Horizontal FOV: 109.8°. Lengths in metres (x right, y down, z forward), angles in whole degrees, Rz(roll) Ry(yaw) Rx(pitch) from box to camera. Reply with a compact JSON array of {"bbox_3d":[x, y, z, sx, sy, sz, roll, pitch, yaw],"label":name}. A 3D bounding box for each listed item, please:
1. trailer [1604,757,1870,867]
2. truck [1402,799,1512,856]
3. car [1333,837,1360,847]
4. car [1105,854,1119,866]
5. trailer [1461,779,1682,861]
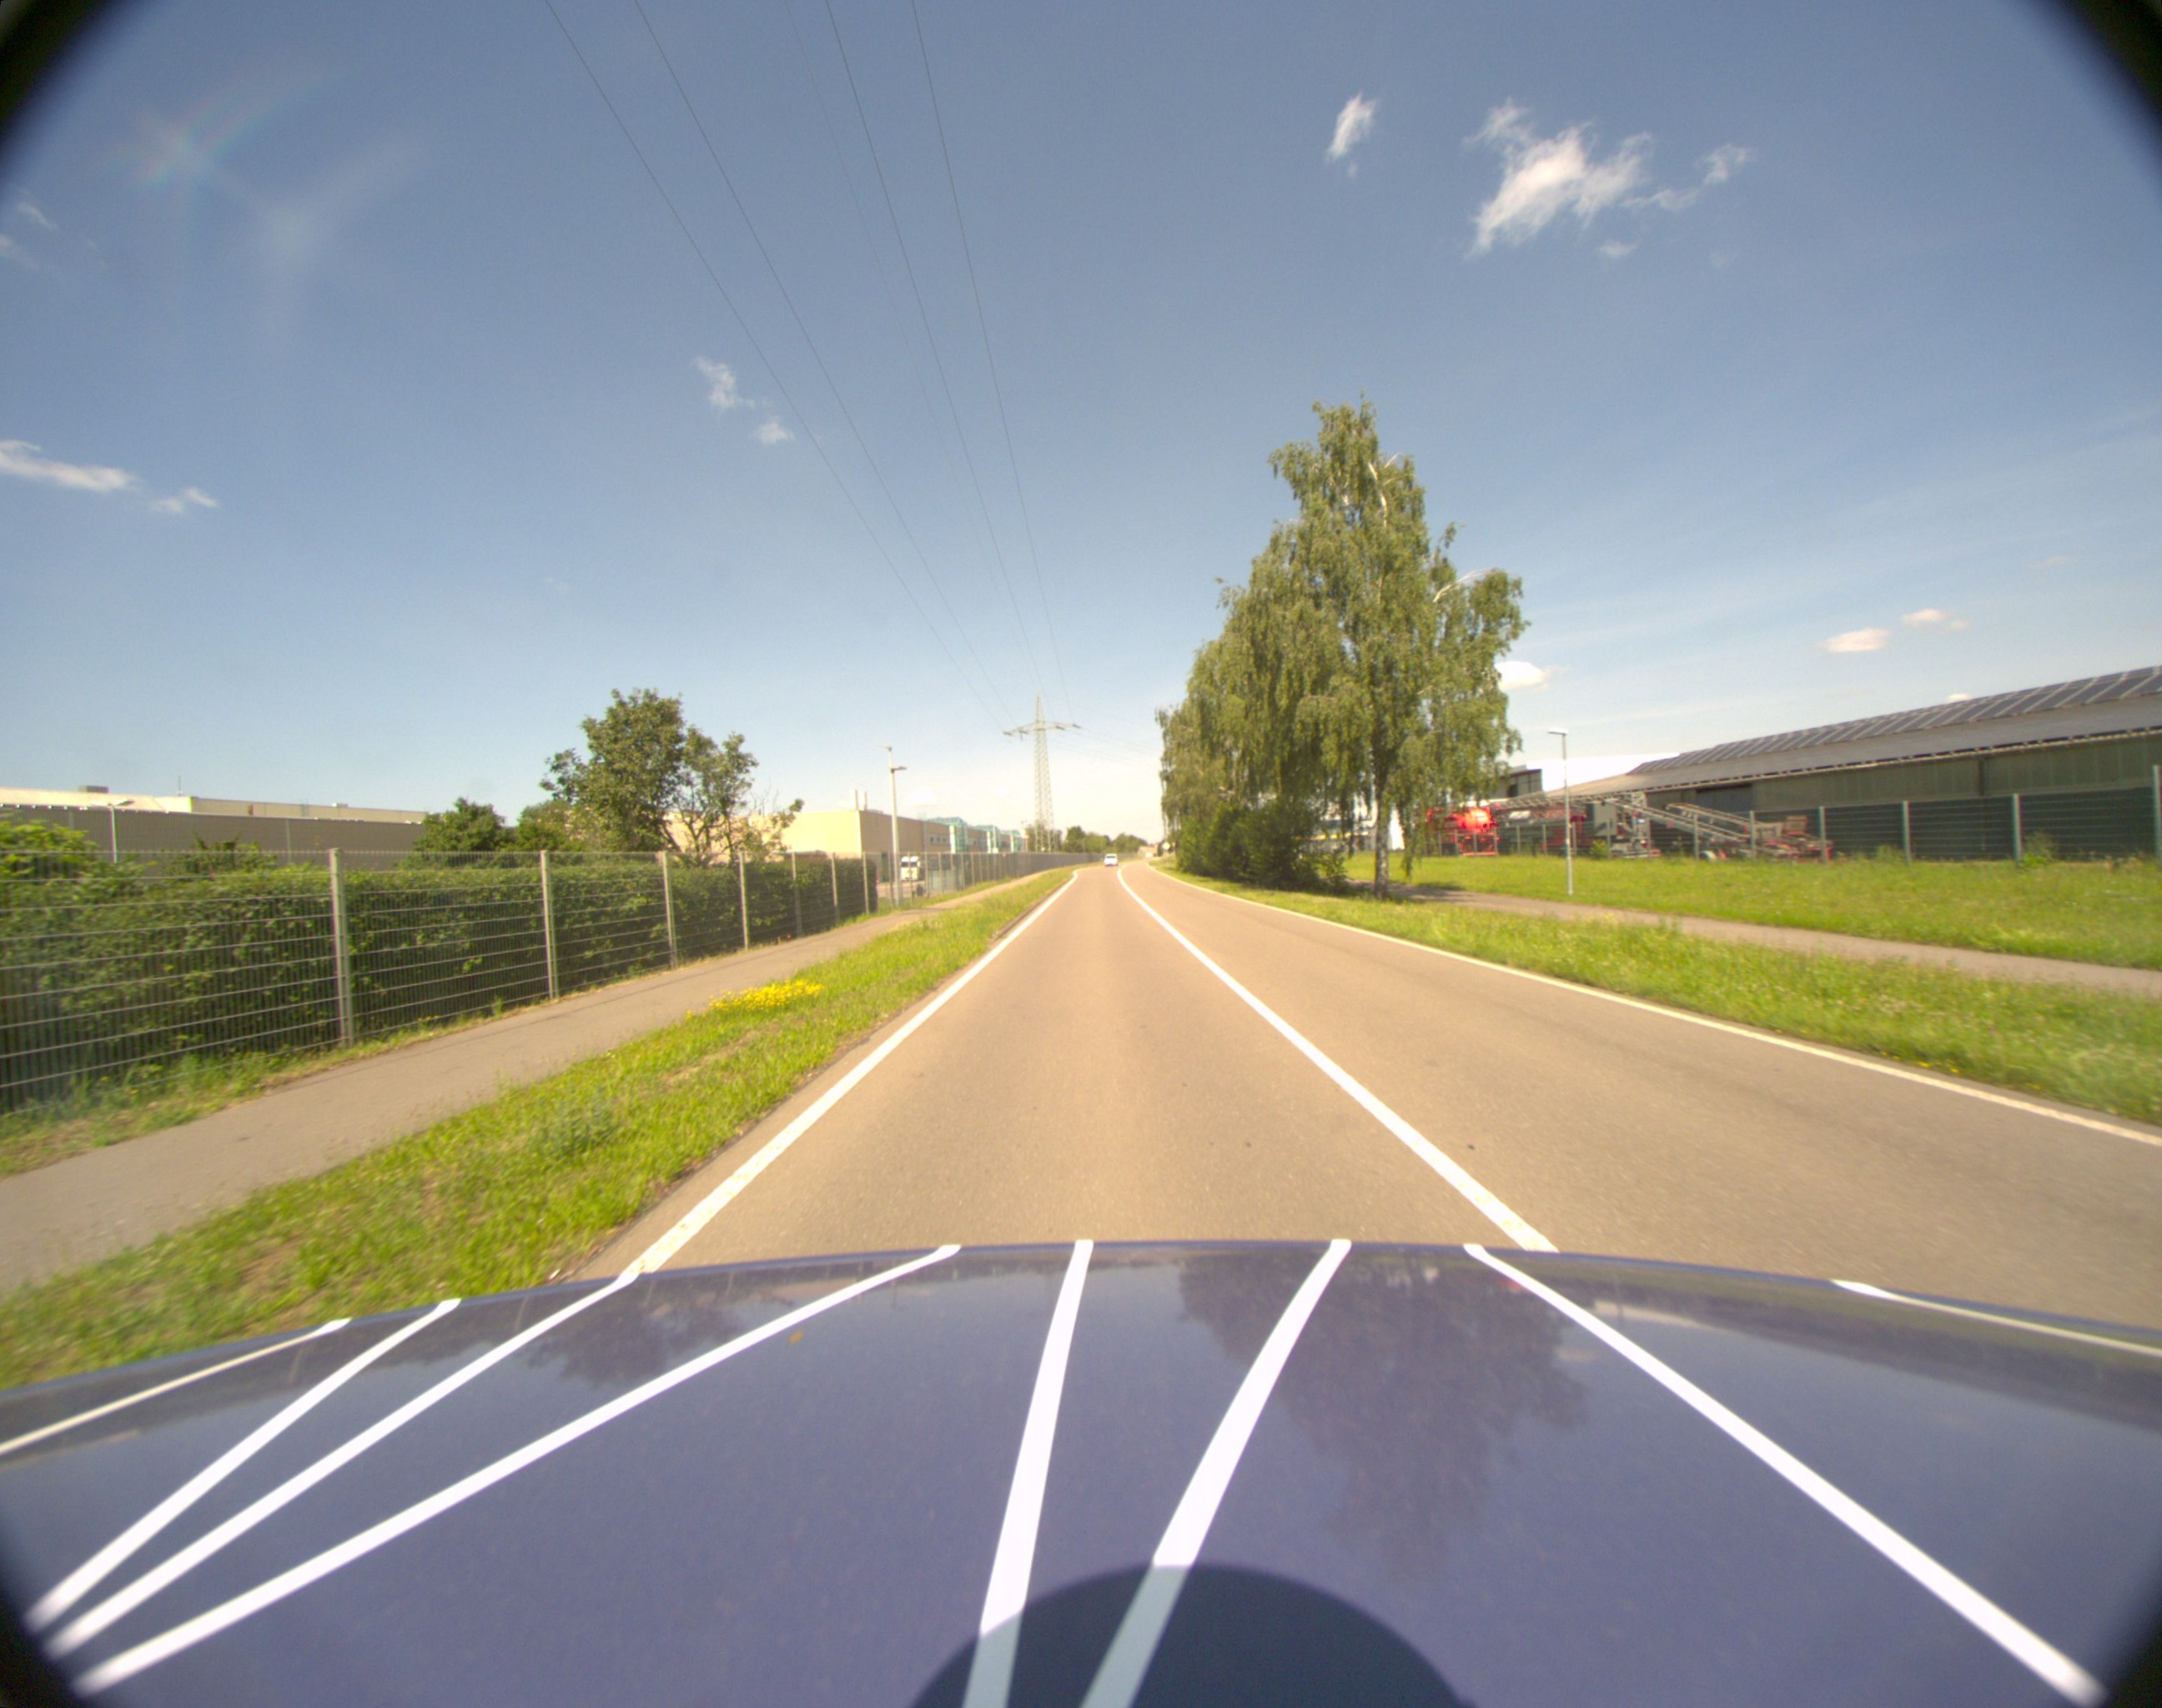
[{"bbox_3d":[25.353,-1.474,30.248,3.407,3.624,8.659,-2,1,3],"label":"trailer"},{"bbox_3d":[26.704,-1.775,54.729,3.108,3.624,10.595,-2,1,3],"label":"truck"},{"bbox_3d":[43.450,-1.968,124.446,2.002,1.641,3.992,-2,1,-22],"label":"car"},{"bbox_3d":[4.674,0.878,114.646,1.836,1.796,4.831,-1,0,5],"label":"car"},{"bbox_3d":[26.016,-1.619,42.004,3.298,3.624,14.926,-2,1,3],"label":"trailer"}]
